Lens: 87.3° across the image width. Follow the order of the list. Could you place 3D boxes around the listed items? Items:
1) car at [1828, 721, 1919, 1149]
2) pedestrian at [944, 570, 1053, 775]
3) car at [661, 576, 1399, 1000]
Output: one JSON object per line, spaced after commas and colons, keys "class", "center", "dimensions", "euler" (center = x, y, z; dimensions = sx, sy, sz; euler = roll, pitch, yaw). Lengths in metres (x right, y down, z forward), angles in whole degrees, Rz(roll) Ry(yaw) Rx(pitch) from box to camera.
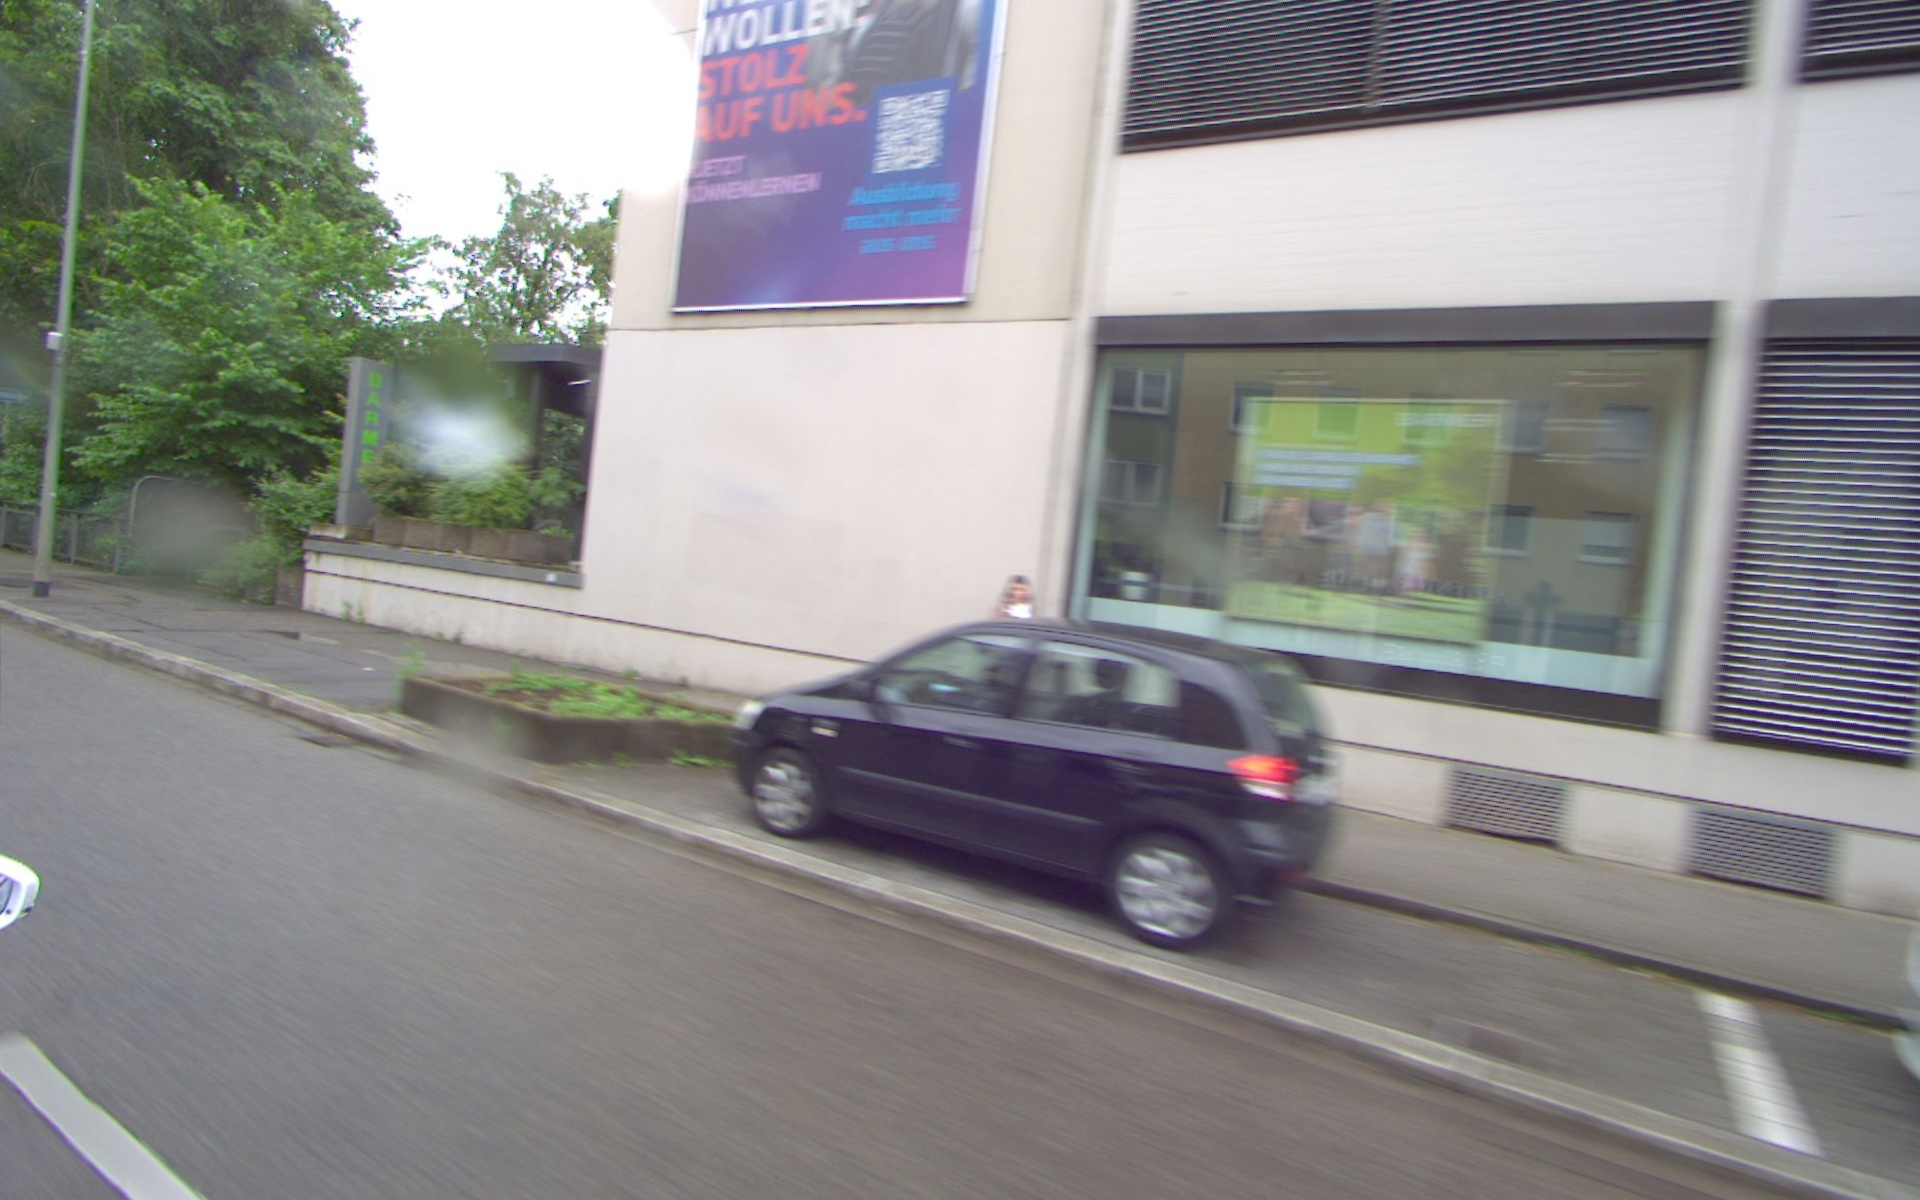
{"class": "car", "center": [5.511, 1.448, 2.636], "dimensions": [4.502, 1.420, 1.775], "euler": [7, 2, 30]}
{"class": "pedestrian", "center": [0.364, 0.641, 9.277], "dimensions": [0.669, 1.760, 0.613], "euler": [6, 3, 25]}
{"class": "car", "center": [0.269, 0.799, 6.054], "dimensions": [4.015, 1.461, 1.714], "euler": [7, 2, 33]}
